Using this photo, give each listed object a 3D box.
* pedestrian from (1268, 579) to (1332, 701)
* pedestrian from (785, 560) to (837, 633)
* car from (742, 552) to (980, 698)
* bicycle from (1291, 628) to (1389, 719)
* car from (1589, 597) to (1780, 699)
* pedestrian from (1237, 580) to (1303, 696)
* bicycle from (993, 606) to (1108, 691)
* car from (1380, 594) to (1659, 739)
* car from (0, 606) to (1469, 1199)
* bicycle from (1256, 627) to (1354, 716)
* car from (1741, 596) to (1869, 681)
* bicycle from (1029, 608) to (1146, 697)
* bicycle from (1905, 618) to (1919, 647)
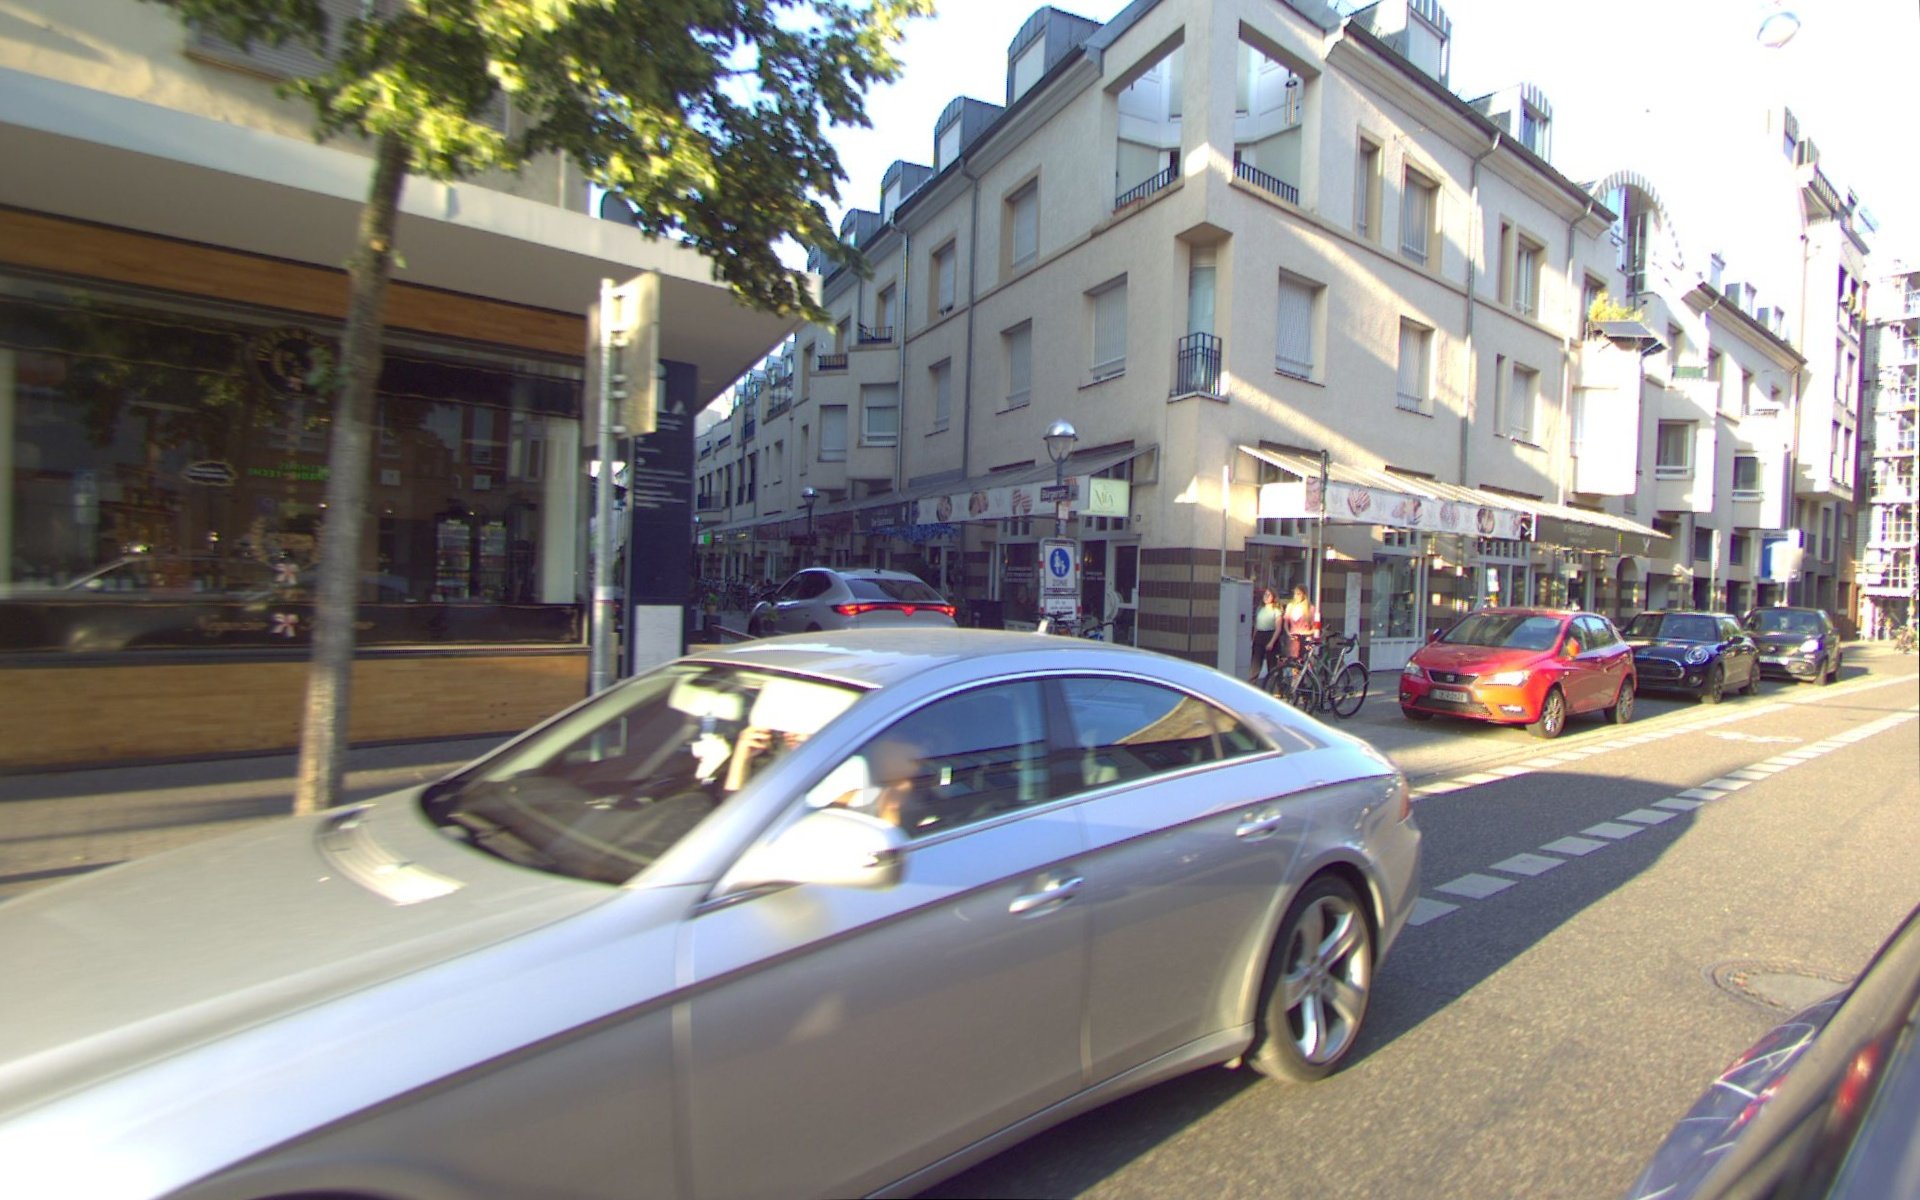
[{"bbox_3d":[4.469,0.509,13.302,0.544,1.549,0.542,1,1,-34],"label":"pedestrian"},{"bbox_3d":[-3.482,-0.097,23.686,0.911,1.665,0.748,3,1,38],"label":"pedestrian"},{"bbox_3d":[-1.542,0.210,13.947,1.818,1.631,4.192,1,3,-27],"label":"car"},{"bbox_3d":[4.504,0.837,11.940,1.588,0.968,0.391,0,2,-43],"label":"bicycle"},{"bbox_3d":[12.233,0.736,17.029,3.682,1.439,1.726,1,3,-40],"label":"car"},{"bbox_3d":[4.271,0.508,13.939,0.638,1.549,0.542,1,1,-34],"label":"pedestrian"},{"bbox_3d":[1.232,0.613,13.506,1.813,1.046,0.391,0,2,-43],"label":"bicycle"},{"bbox_3d":[7.085,0.714,12.663,3.961,1.439,1.726,1,3,-40],"label":"car"},{"bbox_3d":[-0.397,0.733,2.978,4.471,1.395,1.804,1,0,-40],"label":"car"},{"bbox_3d":[4.201,0.832,12.263,1.612,0.968,0.391,0,2,-43],"label":"bicycle"},{"bbox_3d":[17.768,0.759,21.255,2.753,1.568,1.571,1,3,-40],"label":"car"},{"bbox_3d":[1.664,0.640,12.985,1.813,1.063,0.391,0,2,-43],"label":"bicycle"},{"bbox_3d":[33.874,1.135,35.904,0.468,0.970,1.889,3,2,43],"label":"bicycle"}]
